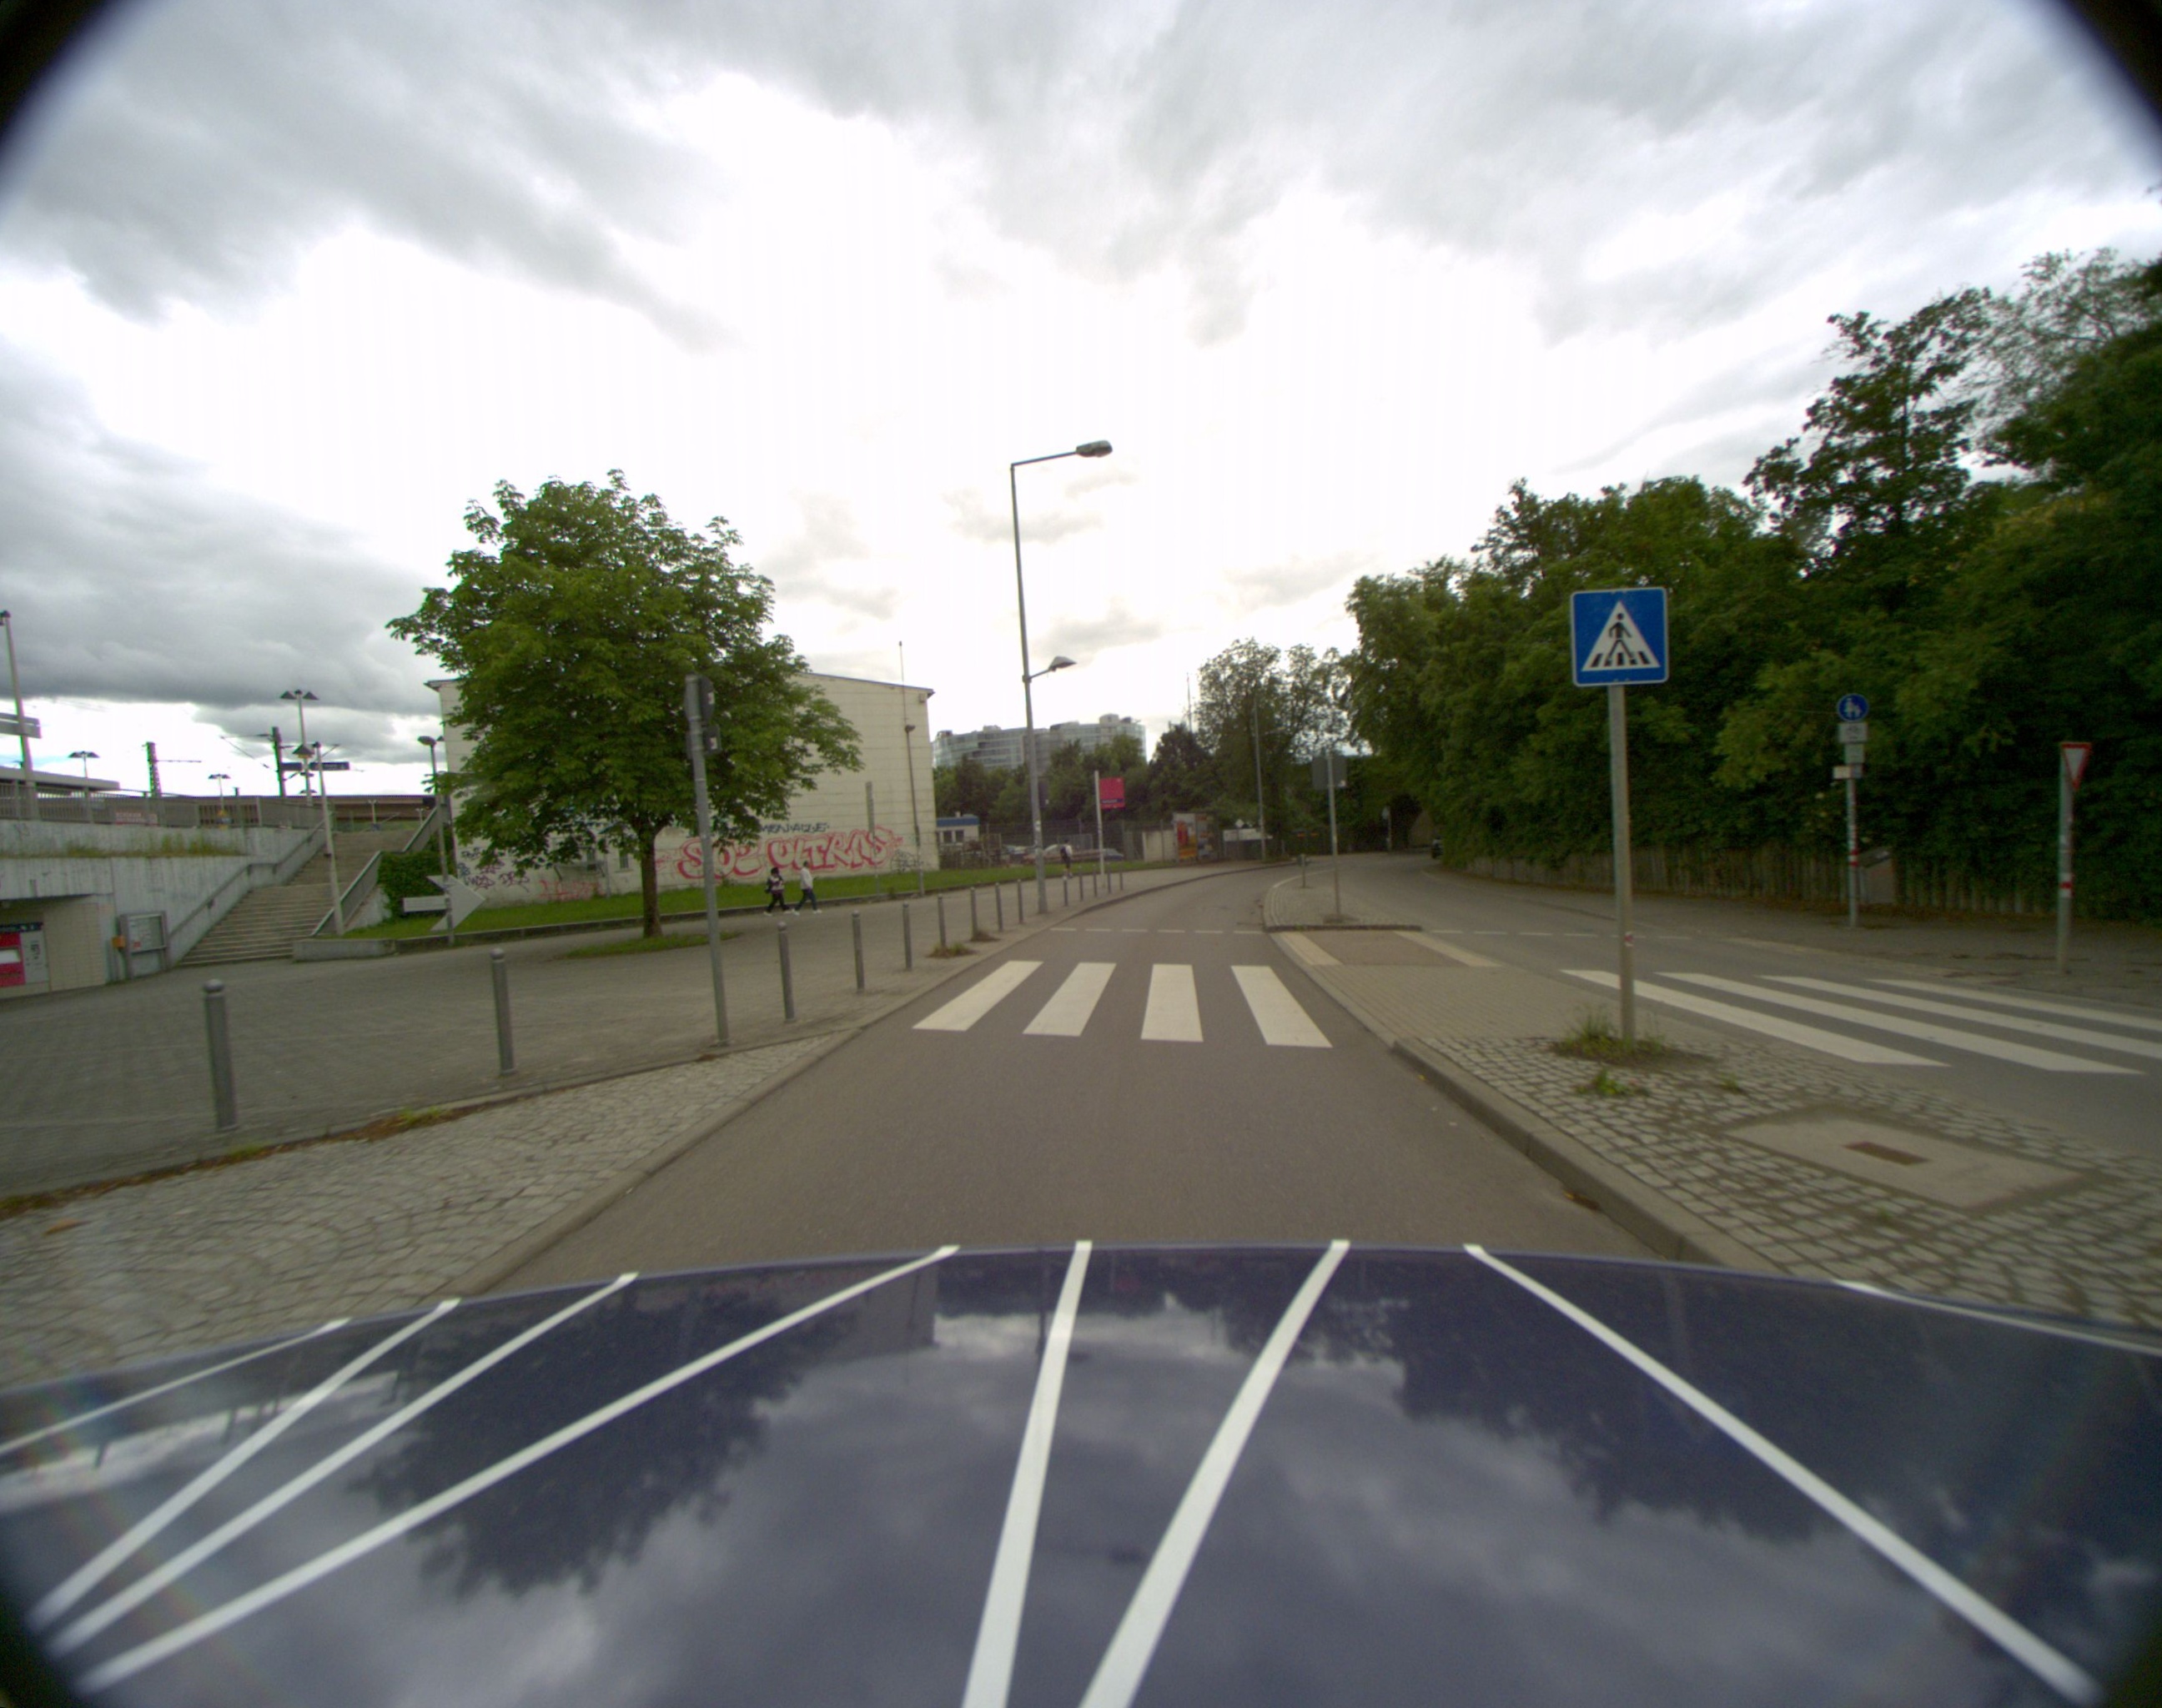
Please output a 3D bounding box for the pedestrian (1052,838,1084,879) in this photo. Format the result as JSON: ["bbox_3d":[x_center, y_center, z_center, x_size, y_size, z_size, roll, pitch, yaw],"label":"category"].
[{"bbox_3d":[-0.565,0.189,33.101,0.941,1.675,0.848,-6,5,-42],"label":"pedestrian"}]

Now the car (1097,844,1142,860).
[{"bbox_3d":[3.130,-0.173,61.549,3.375,1.245,1.468,0,1,-28],"label":"car"}]

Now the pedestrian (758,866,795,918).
[{"bbox_3d":[-9.789,1.210,24.449,0.803,1.575,0.800,-6,4,-38],"label":"pedestrian"}]

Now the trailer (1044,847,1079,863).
[{"bbox_3d":[-1.529,0.086,58.880,1.851,1.131,2.634,-3,1,-24],"label":"trailer"}]

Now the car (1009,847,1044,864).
[{"bbox_3d":[-4.629,0.111,64.134,1.809,1.369,3.790,-4,2,-23],"label":"car"}]

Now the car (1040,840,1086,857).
[{"bbox_3d":[-1.603,-0.503,67.871,3.817,1.523,1.561,-1,2,-28],"label":"car"}]

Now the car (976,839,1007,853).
[{"bbox_3d":[-8.859,-0.793,75.064,1.533,1.324,3.674,-2,1,-33],"label":"car"}]

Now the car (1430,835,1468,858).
[{"bbox_3d":[26.158,-0.553,53.924,1.803,1.601,4.184,2,2,35],"label":"car"}]

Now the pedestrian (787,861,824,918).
[{"bbox_3d":[-8.619,1.083,23.804,0.750,1.693,0.814,-6,4,-38],"label":"pedestrian"}]
